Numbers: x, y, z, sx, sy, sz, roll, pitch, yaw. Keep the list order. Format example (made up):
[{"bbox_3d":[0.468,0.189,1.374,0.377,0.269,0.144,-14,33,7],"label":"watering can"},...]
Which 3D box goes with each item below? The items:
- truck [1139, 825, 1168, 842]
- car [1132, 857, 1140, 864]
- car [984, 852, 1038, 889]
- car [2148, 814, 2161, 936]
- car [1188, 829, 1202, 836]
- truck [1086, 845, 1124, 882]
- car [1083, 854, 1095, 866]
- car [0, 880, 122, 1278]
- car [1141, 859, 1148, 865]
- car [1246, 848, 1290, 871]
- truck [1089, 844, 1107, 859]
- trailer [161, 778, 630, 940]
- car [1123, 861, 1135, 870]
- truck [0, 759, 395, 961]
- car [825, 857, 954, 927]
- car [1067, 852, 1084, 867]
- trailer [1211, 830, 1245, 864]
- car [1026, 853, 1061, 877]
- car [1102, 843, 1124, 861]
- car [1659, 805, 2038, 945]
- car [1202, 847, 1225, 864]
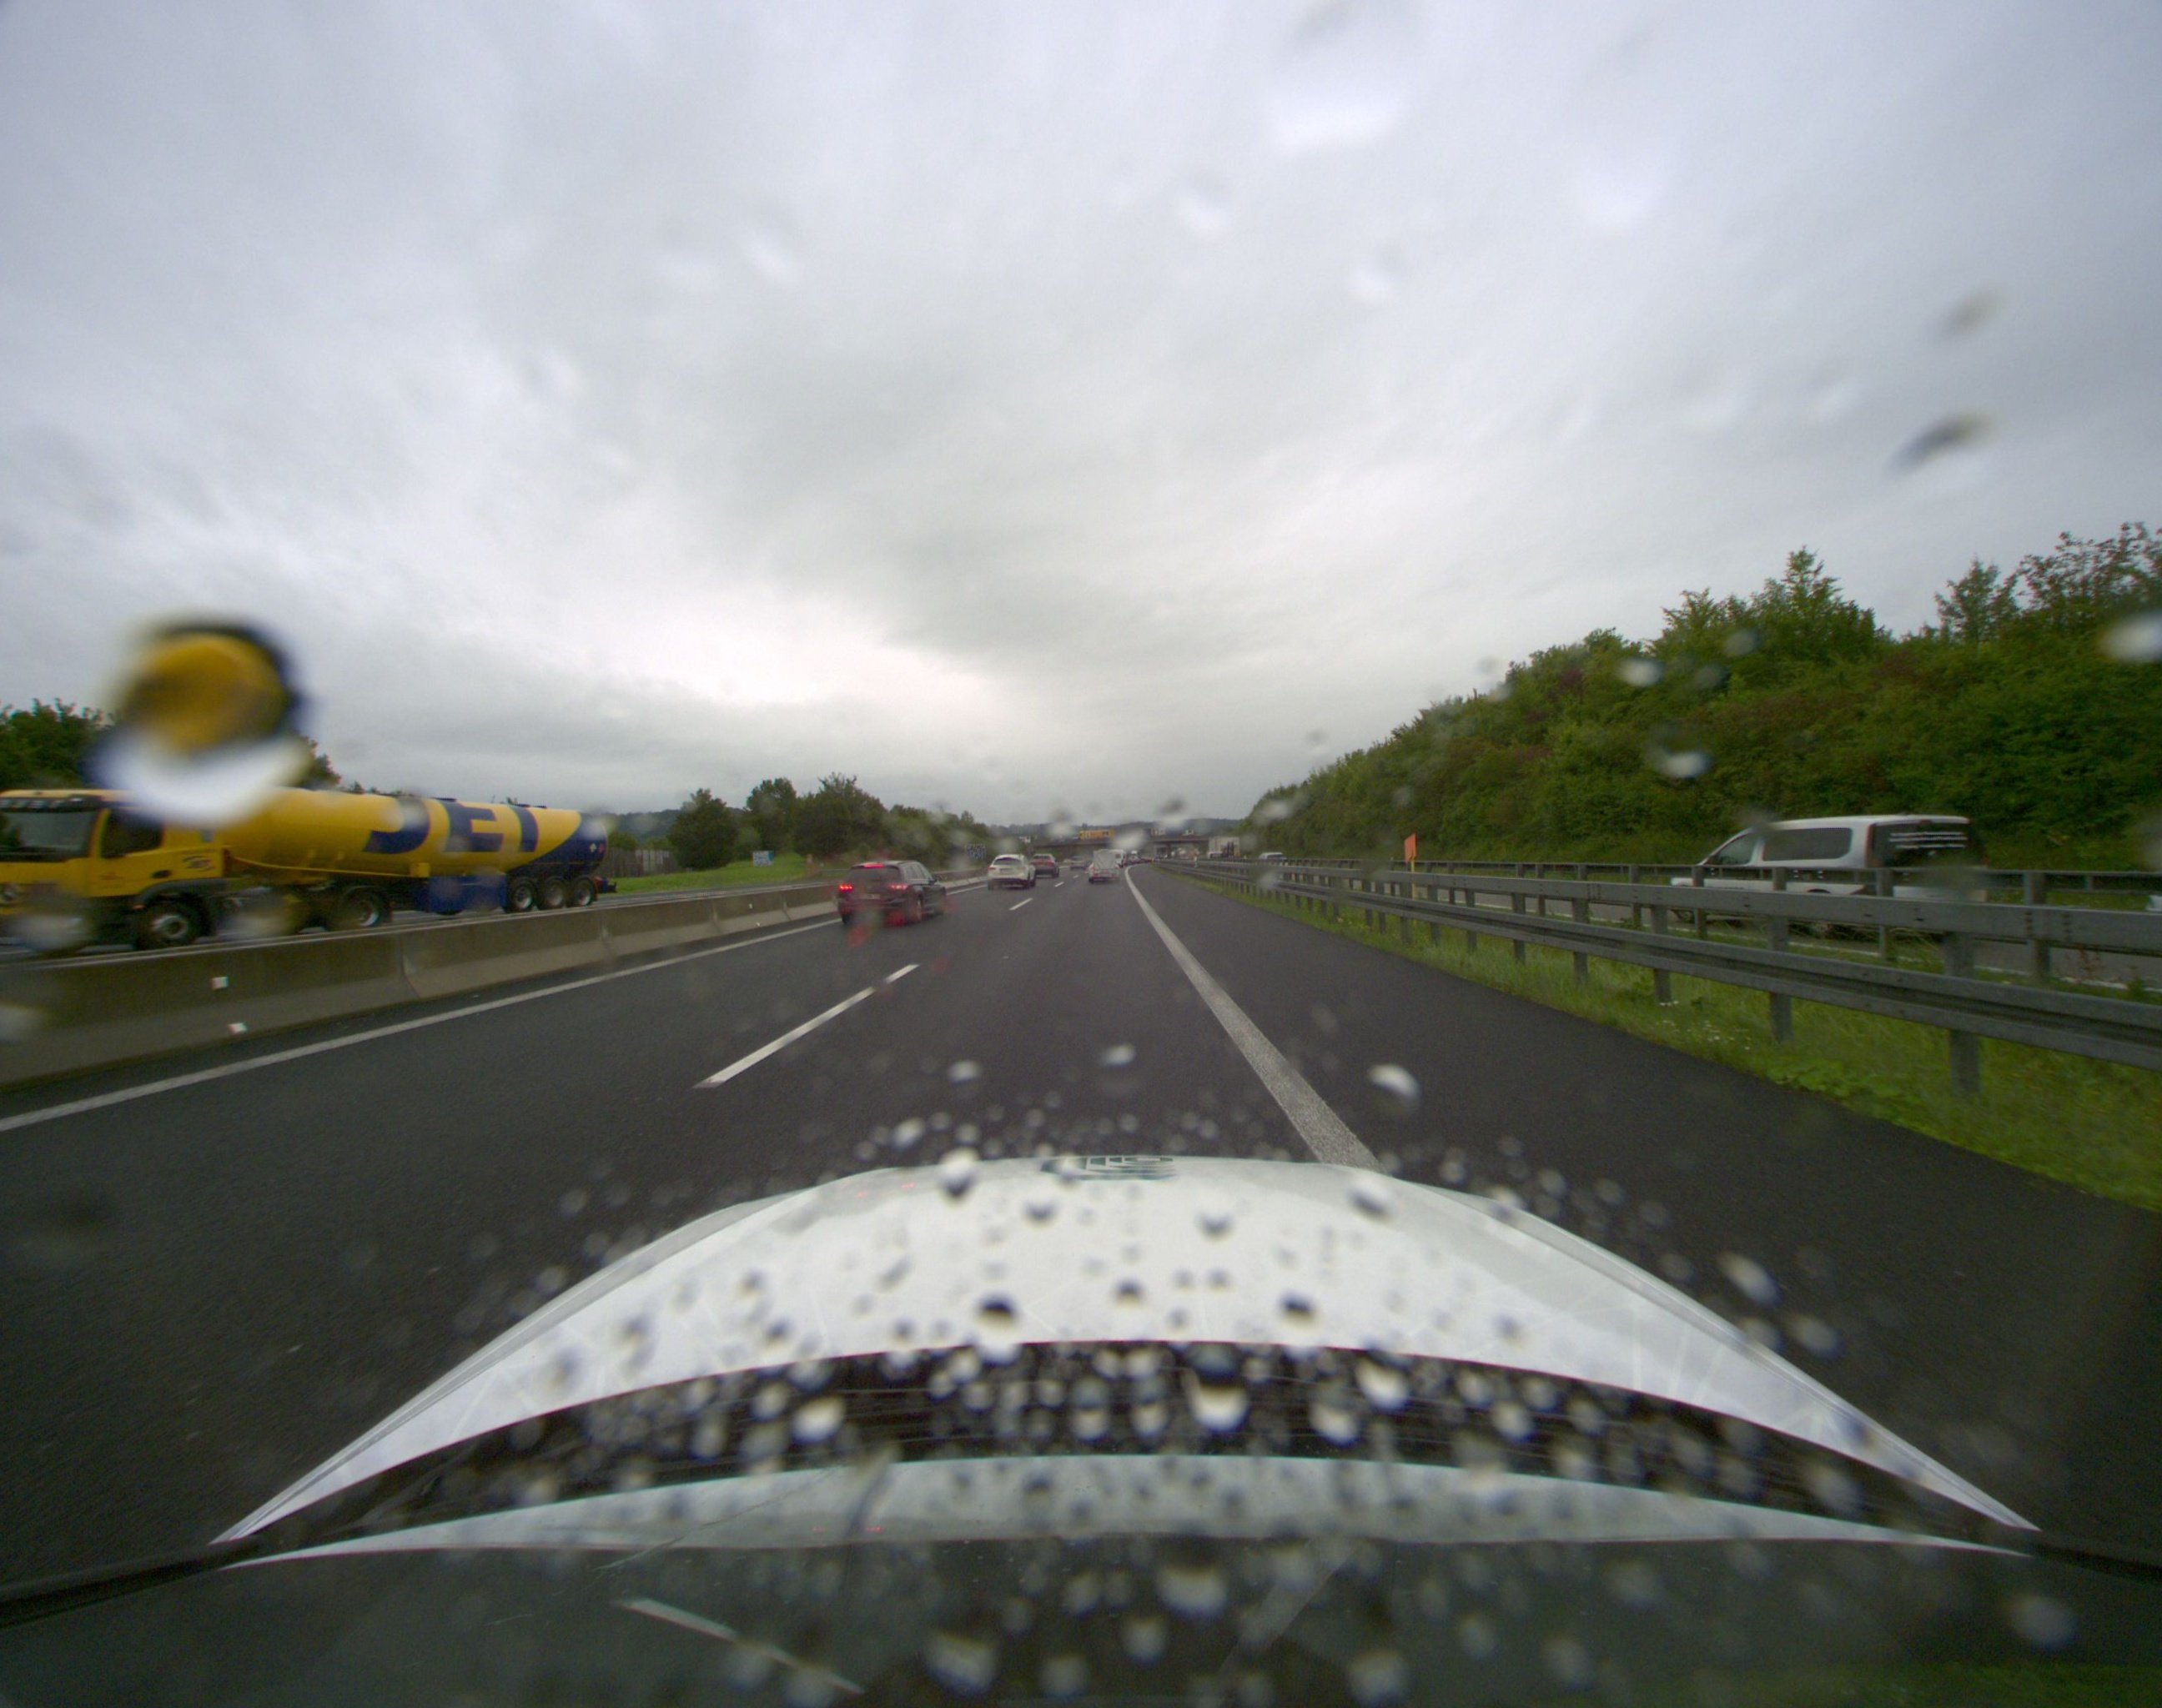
[{"bbox_3d":[22.266,-6.281,249.614,3.791,4.836,9.945,-1,0,-31],"label":"truck"},{"bbox_3d":[14.490,1.795,213.214,1.985,1.750,4.003,0,0,3],"label":"car"},{"bbox_3d":[-3.318,0.772,39.386,1.968,1.639,4.503,-1,0,2],"label":"car"},{"bbox_3d":[15.194,0.257,8.806,1.890,1.612,4.146,-1,0,1],"label":"car"},{"bbox_3d":[32.585,-6.228,232.625,1.851,1.915,3.955,0,0,-37],"label":"car"},{"bbox_3d":[1.489,0.522,48.101,2.011,1.985,7.218,-1,0,3],"label":"truck"},{"bbox_3d":[1.272,0.887,130.292,1.836,1.819,4.000,-1,0,0],"label":"car"},{"bbox_3d":[-4.884,0.837,1.047,1.893,1.405,4.462,-1,0,2],"label":"car"},{"bbox_3d":[18.859,2.302,240.586,1.985,1.750,4.004,0,0,4],"label":"car"},{"bbox_3d":[13.391,0.404,58.646,2.002,1.548,4.693,-1,0,-1],"label":"car"},{"bbox_3d":[4.287,-0.556,204.502,3.749,3.554,13.204,-1,0,5],"label":"truck"},{"bbox_3d":[-17.574,0.132,22.808,2.749,3.398,11.461,0,0,5],"label":"trailer"},{"bbox_3d":[9.839,2.366,166.883,1.988,1.750,3.998,0,0,-1],"label":"car"},{"bbox_3d":[-18.079,0.110,16.707,2.749,3.398,5.853,0,0,4],"label":"truck"},{"bbox_3d":[-4.561,0.856,20.214,1.893,1.497,4.853,-1,-1,1],"label":"car"},{"bbox_3d":[-0.597,0.629,96.890,1.894,1.613,4.017,-1,0,0],"label":"car"},{"bbox_3d":[20.190,-0.948,112.293,3.422,4.289,10.465,-1,0,4],"label":"trailer"},{"bbox_3d":[-2.657,0.802,59.099,2.166,1.631,4.502,-1,0,2],"label":"car"},{"bbox_3d":[4.707,-0.306,118.459,3.004,2.616,6.080,-1,0,3],"label":"car"},{"bbox_3d":[11.744,0.277,12.987,2.001,1.815,4.275,-1,0,0],"label":"car"},{"bbox_3d":[14.966,0.194,92.030,1.853,1.805,4.648,-1,0,0],"label":"car"}]
